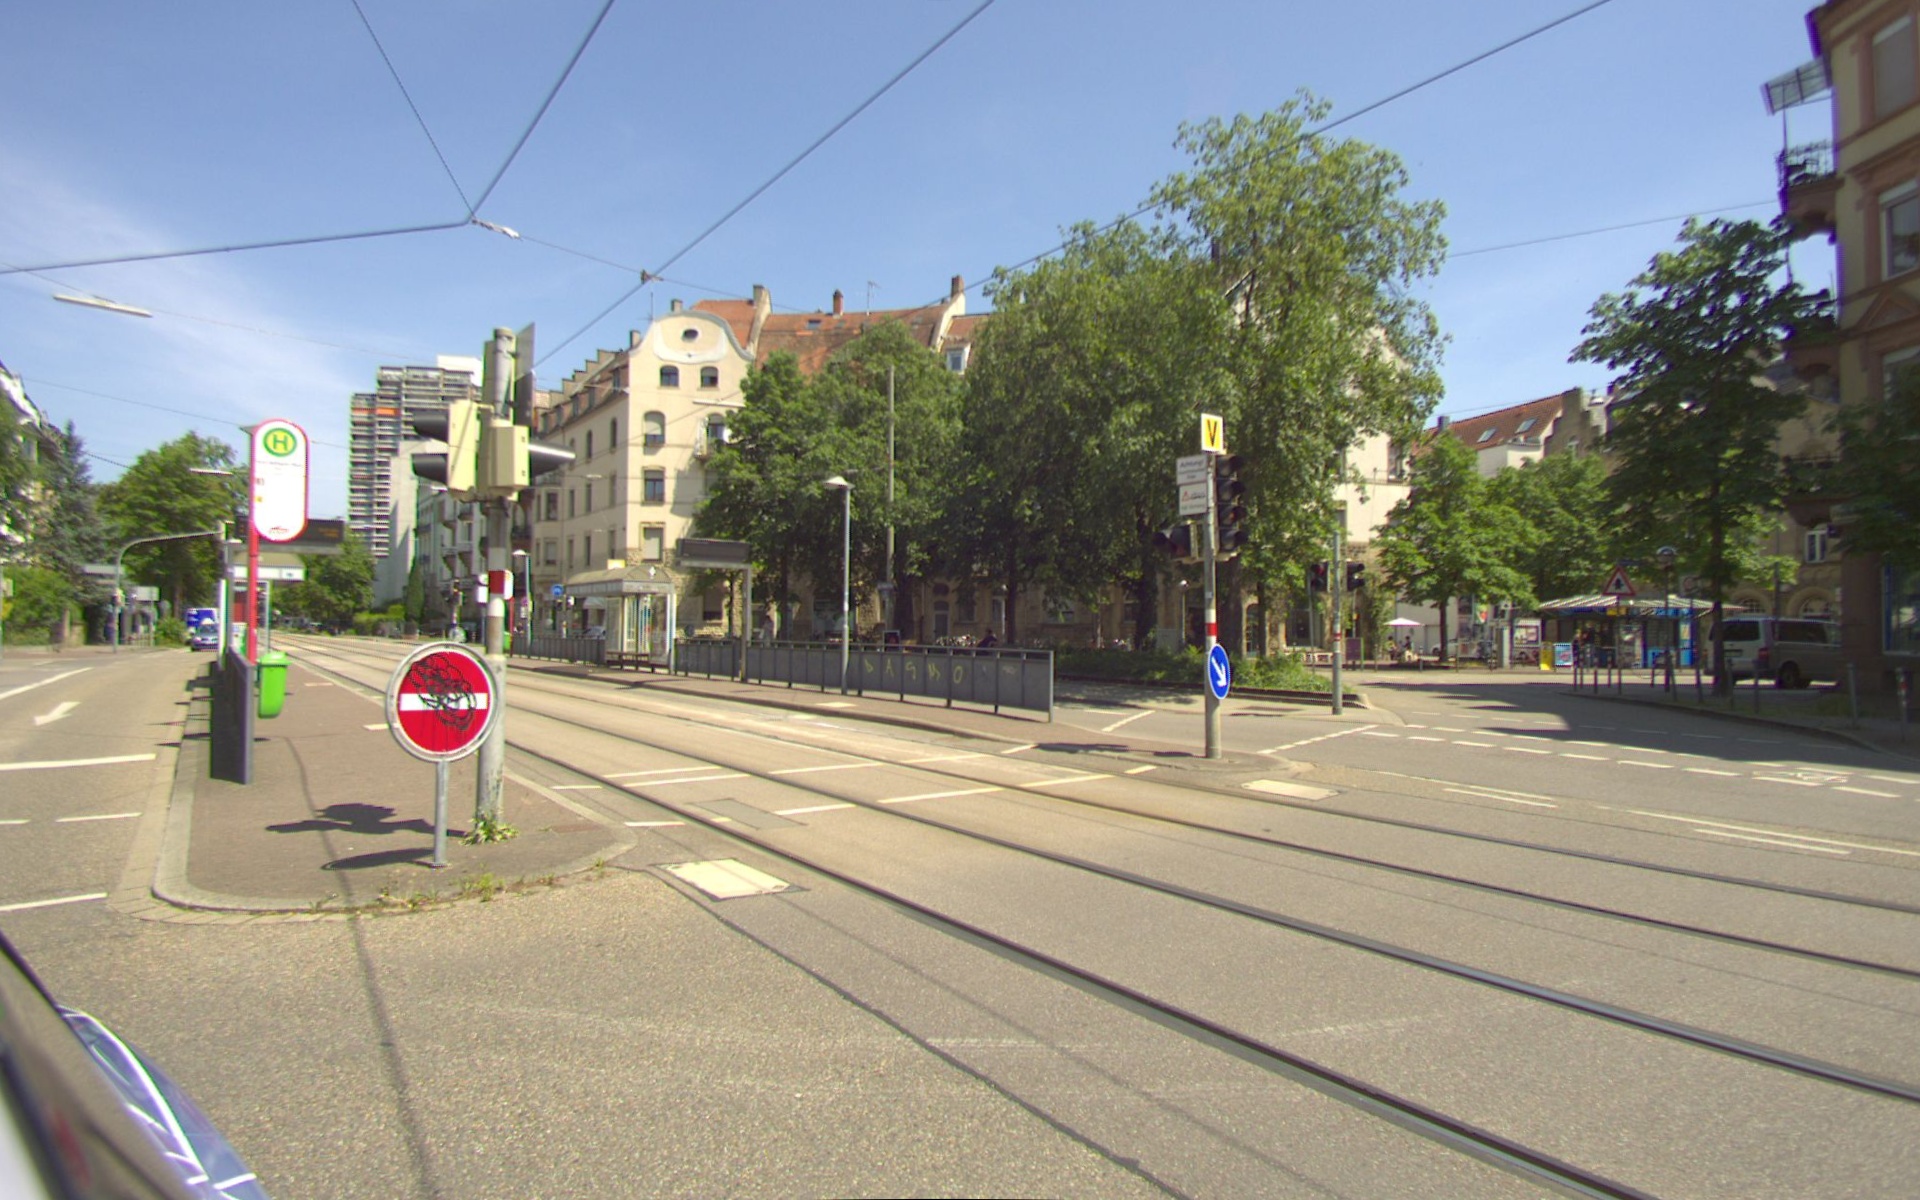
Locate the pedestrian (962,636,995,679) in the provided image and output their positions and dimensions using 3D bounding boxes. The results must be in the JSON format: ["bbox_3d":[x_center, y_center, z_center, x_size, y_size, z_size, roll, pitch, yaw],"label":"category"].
[{"bbox_3d":[0.593,1.799,31.794,0.809,1.327,0.654,1,-2,-31],"label":"pedestrian"}]

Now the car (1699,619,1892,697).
[{"bbox_3d":[23.470,1.584,28.476,4.510,2.082,2.006,1,-2,-17],"label":"car"}]

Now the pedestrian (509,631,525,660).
[{"bbox_3d":[-26.172,2.681,59.766,0.796,1.733,0.765,1,-2,-21],"label":"pedestrian"}]

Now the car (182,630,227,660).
[{"bbox_3d":[-40.107,2.360,53.687,1.710,1.564,4.432,2,-3,-39],"label":"car"}]

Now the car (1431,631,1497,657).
[{"bbox_3d":[34.771,3.009,69.924,1.780,1.711,4.012,1,-2,-18],"label":"car"}]

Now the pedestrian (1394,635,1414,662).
[{"bbox_3d":[22.672,2.472,51.662,0.690,1.360,0.605,2,-2,-26],"label":"pedestrian"}]

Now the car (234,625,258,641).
[{"bbox_3d":[-74.944,3.472,106.196,1.710,1.564,4.432,2,-3,-39],"label":"car"}]

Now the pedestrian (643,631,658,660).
[{"bbox_3d":[-15.660,2.322,51.180,0.521,1.452,0.529,-2,-3,43],"label":"pedestrian"}]

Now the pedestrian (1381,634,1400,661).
[{"bbox_3d":[21.596,2.365,50.756,0.594,1.360,0.703,3,-3,-43],"label":"pedestrian"}]

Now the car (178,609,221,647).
[{"bbox_3d":[-53.504,1.946,71.131,2.202,2.511,5.277,2,-2,-38],"label":"car"}]

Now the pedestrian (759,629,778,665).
[{"bbox_3d":[-7.703,1.888,40.629,0.521,1.452,0.529,-2,-3,43],"label":"pedestrian"}]

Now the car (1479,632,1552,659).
[{"bbox_3d":[35.956,2.926,65.627,1.780,1.711,4.012,1,-2,-18],"label":"car"}]

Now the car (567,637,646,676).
[{"bbox_3d":[-13.286,2.077,37.936,1.670,1.320,3.857,1,-2,-37],"label":"car"}]
